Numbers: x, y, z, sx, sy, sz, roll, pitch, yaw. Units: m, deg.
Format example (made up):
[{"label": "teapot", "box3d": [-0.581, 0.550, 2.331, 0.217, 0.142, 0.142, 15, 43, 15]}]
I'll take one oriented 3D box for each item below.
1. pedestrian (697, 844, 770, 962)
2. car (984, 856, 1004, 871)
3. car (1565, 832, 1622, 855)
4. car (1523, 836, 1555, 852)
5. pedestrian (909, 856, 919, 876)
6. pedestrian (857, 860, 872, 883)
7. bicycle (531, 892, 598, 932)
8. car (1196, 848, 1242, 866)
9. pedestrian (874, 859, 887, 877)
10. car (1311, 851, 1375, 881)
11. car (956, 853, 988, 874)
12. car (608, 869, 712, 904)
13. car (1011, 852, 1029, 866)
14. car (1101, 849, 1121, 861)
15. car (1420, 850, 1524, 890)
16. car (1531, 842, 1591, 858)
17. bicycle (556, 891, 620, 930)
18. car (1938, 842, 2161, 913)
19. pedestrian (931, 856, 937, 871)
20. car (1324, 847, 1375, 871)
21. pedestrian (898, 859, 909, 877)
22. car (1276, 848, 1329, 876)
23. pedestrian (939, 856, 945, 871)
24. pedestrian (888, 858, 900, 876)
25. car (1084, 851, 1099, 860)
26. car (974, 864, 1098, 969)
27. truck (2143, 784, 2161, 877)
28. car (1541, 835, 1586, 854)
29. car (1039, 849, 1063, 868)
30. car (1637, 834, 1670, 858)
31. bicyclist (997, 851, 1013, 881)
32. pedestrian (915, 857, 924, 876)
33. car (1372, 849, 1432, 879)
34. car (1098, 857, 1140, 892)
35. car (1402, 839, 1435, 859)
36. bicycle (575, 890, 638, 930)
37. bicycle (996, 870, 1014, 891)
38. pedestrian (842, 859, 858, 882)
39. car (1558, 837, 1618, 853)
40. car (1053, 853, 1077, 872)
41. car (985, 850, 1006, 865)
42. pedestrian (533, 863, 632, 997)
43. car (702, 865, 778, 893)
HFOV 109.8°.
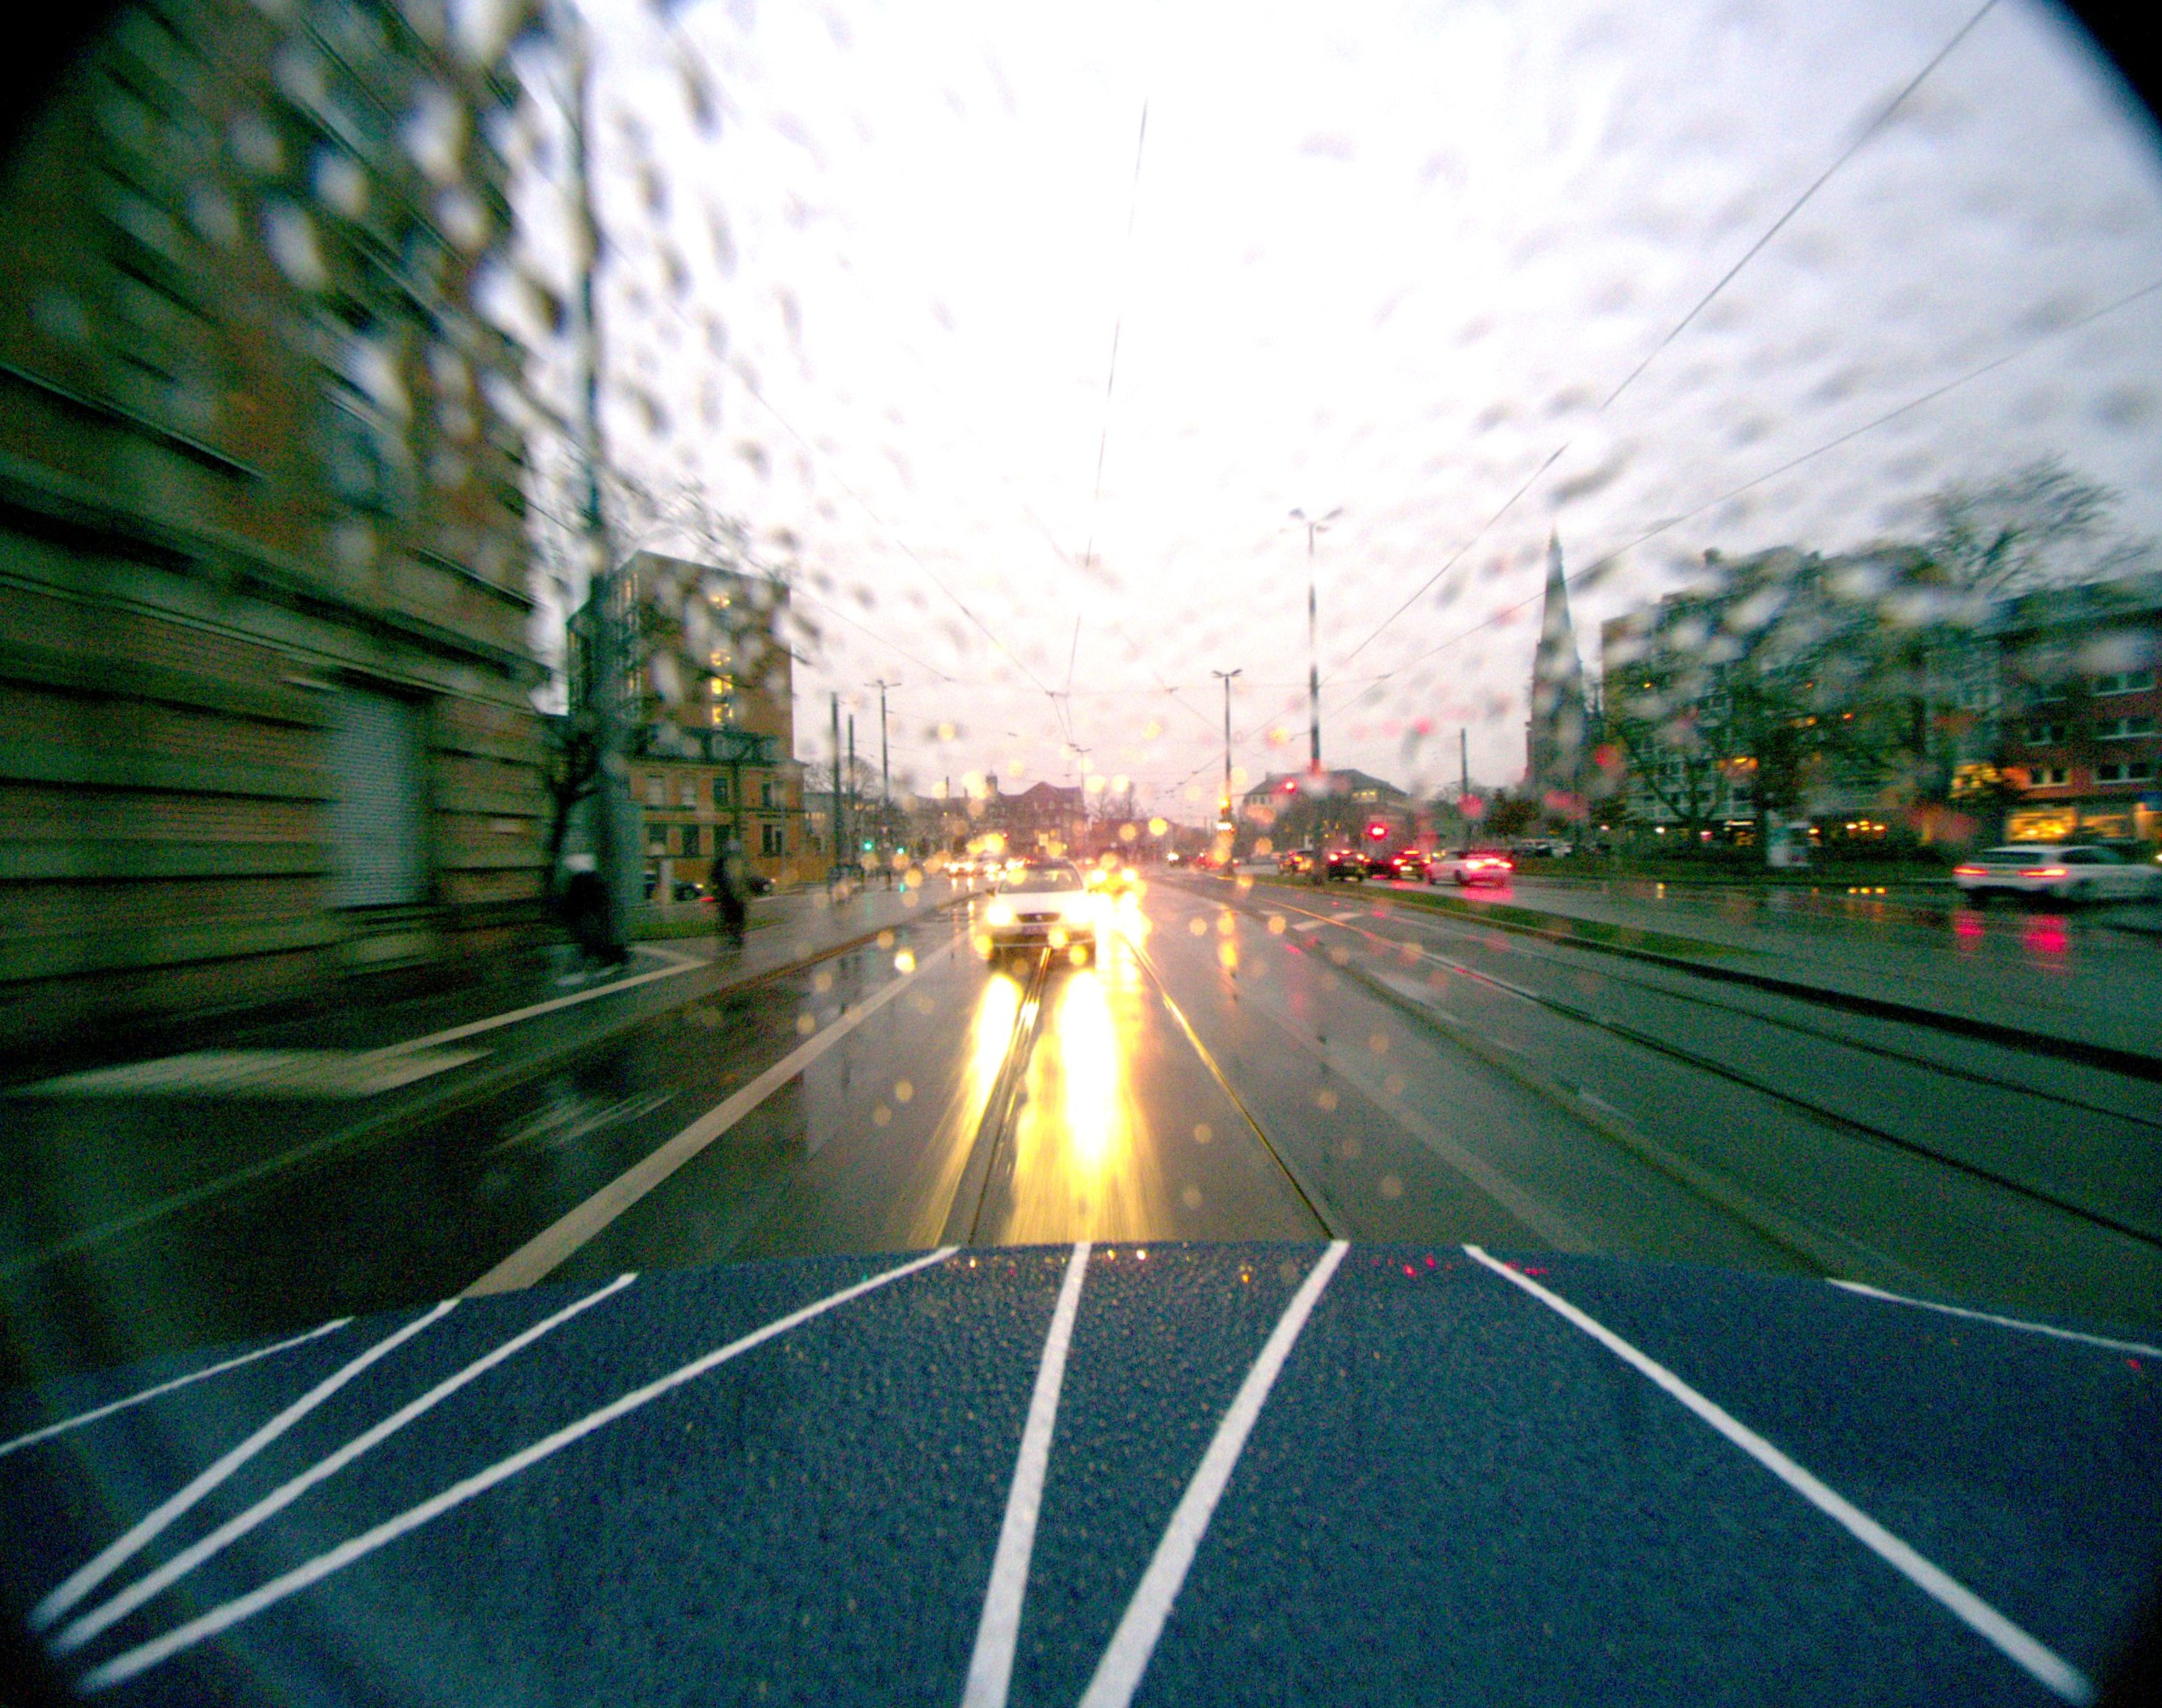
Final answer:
[{"label": "pedestrian", "box3d": [-5.535, 0.756, 12.128, 0.753, 1.814, 0.710, -2, 1, 2]}, {"label": "car", "box3d": [-9.519, 1.011, 82.972, 1.829, 1.499, 3.801, -2, 0, -10]}, {"label": "car", "box3d": [47.975, -0.961, 71.140, 2.003, 2.002, 3.989, -3, 1, -37]}, {"label": "car", "box3d": [55.698, -1.233, 92.459, 4.575, 1.783, 1.820, -2, 1, -38]}, {"label": "pedestrian", "box3d": [-15.429, 1.112, 70.131, 0.651, 1.811, 0.637, -2, 1, -34]}, {"label": "pedestrian", "box3d": [-15.418, 1.258, 54.092, 0.821, 1.610, 0.747, -2, 1, -33]}, {"label": "bicycle", "box3d": [-14.372, 1.587, 21.217, 0.455, 0.948, 1.944, -2, 0, 2]}, {"label": "car", "box3d": [12.896, 0.299, 70.912, 4.088, 1.521, 2.002, -2, 1, 15]}, {"label": "pedestrian", "box3d": [-17.441, 1.213, 66.150, 0.881, 1.610, 0.747, -2, 1, -34]}, {"label": "car", "box3d": [12.554, 0.541, 36.665, 1.876, 1.382, 4.000, 0, 1, 2]}, {"label": "car", "box3d": [-10.600, 0.880, 74.195, 1.998, 1.827, 4.872, -2, 0, 5]}, {"label": "car", "box3d": [-21.867, 1.636, 39.556, 4.396, 1.579, 1.885, -2, 1, -43]}, {"label": "car", "box3d": [-8.991, 0.735, 111.047, 1.826, 1.922, 3.994, -2, 1, -16]}, {"label": "car", "box3d": [4.347, 0.111, 111.937, 2.000, 1.688, 4.478, -2, 0, -9]}, {"label": "car", "box3d": [15.730, 0.600, 30.906, 1.998, 1.413, 4.588, -2, 0, 2]}, {"label": "car", "box3d": [42.010, -0.331, 66.610, 2.003, 1.302, 3.989, -3, 1, -37]}, {"label": "bicycle", "box3d": [-13.770, 1.563, 21.277, 0.455, 0.948, 1.944, -2, 0, 2]}, {"label": "car", "box3d": [24.321, 0.534, 18.974, 4.813, 1.489, 1.997, -2, 1, -16]}, {"label": "pedestrian", "box3d": [-17.284, 1.117, 89.349, 0.638, 1.752, 0.510, -2, 1, -13]}, {"label": "car", "box3d": [16.027, 0.288, 45.574, 1.728, 1.350, 4.000, -2, 0, 1]}, {"label": "pedestrian", "box3d": [-16.390, 1.273, 70.138, 0.710, 1.610, 0.747, -2, 1, -34]}, {"label": "car", "box3d": [12.647, 0.419, 43.606, 1.904, 1.477, 4.000, -2, 0, 1]}, {"label": "pedestrian", "box3d": [-16.361, 1.079, 89.587, 0.638, 1.752, 0.510, -2, 1, -13]}, {"label": "pedestrian", "box3d": [-17.564, 1.229, 71.313, 0.881, 1.610, 0.747, -2, 1, -34]}, {"label": "car", "box3d": [1.567, 0.218, 118.091, 1.999, 1.434, 4.481, -2, 0, -2]}, {"label": "car", "box3d": [-0.624, 0.953, 13.251, 1.797, 1.415, 4.000, -2, 0, 1]}, {"label": "truck", "box3d": [43.311, -0.991, 27.712, 6.757, 3.398, 2.655, -2, 1, -10]}, {"label": "car", "box3d": [53.488, -1.072, 84.329, 3.990, 2.002, 2.003, -2, 1, 25]}, {"label": "car", "box3d": [-3.575, 0.504, 89.892, 2.000, 2.002, 5.547, -2, 1, -10]}, {"label": "car", "box3d": [49.757, -0.703, 65.972, 1.994, 2.002, 4.008, -1, 1, 41]}, {"label": "bicyclist", "box3d": [-4.024, 0.634, 40.308, 0.727, 1.525, 0.785, -2, 1, -1]}, {"label": "pedestrian", "box3d": [-14.788, 1.126, 69.682, 0.511, 1.752, 0.637, -2, 1, -34]}, {"label": "car", "box3d": [15.920, 0.461, 37.863, 1.604, 1.410, 3.471, -2, 0, 2]}, {"label": "car", "box3d": [1.685, 0.885, 34.830, 1.797, 1.415, 4.000, -2, 0, 1]}, {"label": "car", "box3d": [36.612, -0.575, 82.367, 1.994, 2.002, 4.008, -1, 1, 42]}, {"label": "bicycle", "box3d": [-13.232, 1.541, 21.265, 0.455, 0.948, 1.944, -2, 0, 2]}, {"label": "bicycle", "box3d": [-3.998, 1.405, 40.280, 0.725, 0.985, 2.211, -2, 0, -1]}, {"label": "pedestrian", "box3d": [-17.197, 1.187, 56.508, 0.818, 1.667, 0.749, -2, 1, 10]}, {"label": "car", "box3d": [45.281, -0.788, 67.951, 2.003, 1.302, 3.989, -3, 1, -37]}, {"label": "car", "box3d": [-1.452, 0.761, 67.831, 1.825, 1.565, 3.998, -2, 0, -5]}, {"label": "car", "box3d": [-10.367, 0.415, 92.194, 2.020, 1.809, 3.684, -2, 1, -13]}, {"label": "pedestrian", "box3d": [-6.008, 0.890, 9.191, 0.633, 1.539, 0.711, -2, 1, 6]}, {"label": "car", "box3d": [-20.192, 1.449, 45.036, 3.755, 1.394, 1.614, -4, 2, -40]}]
